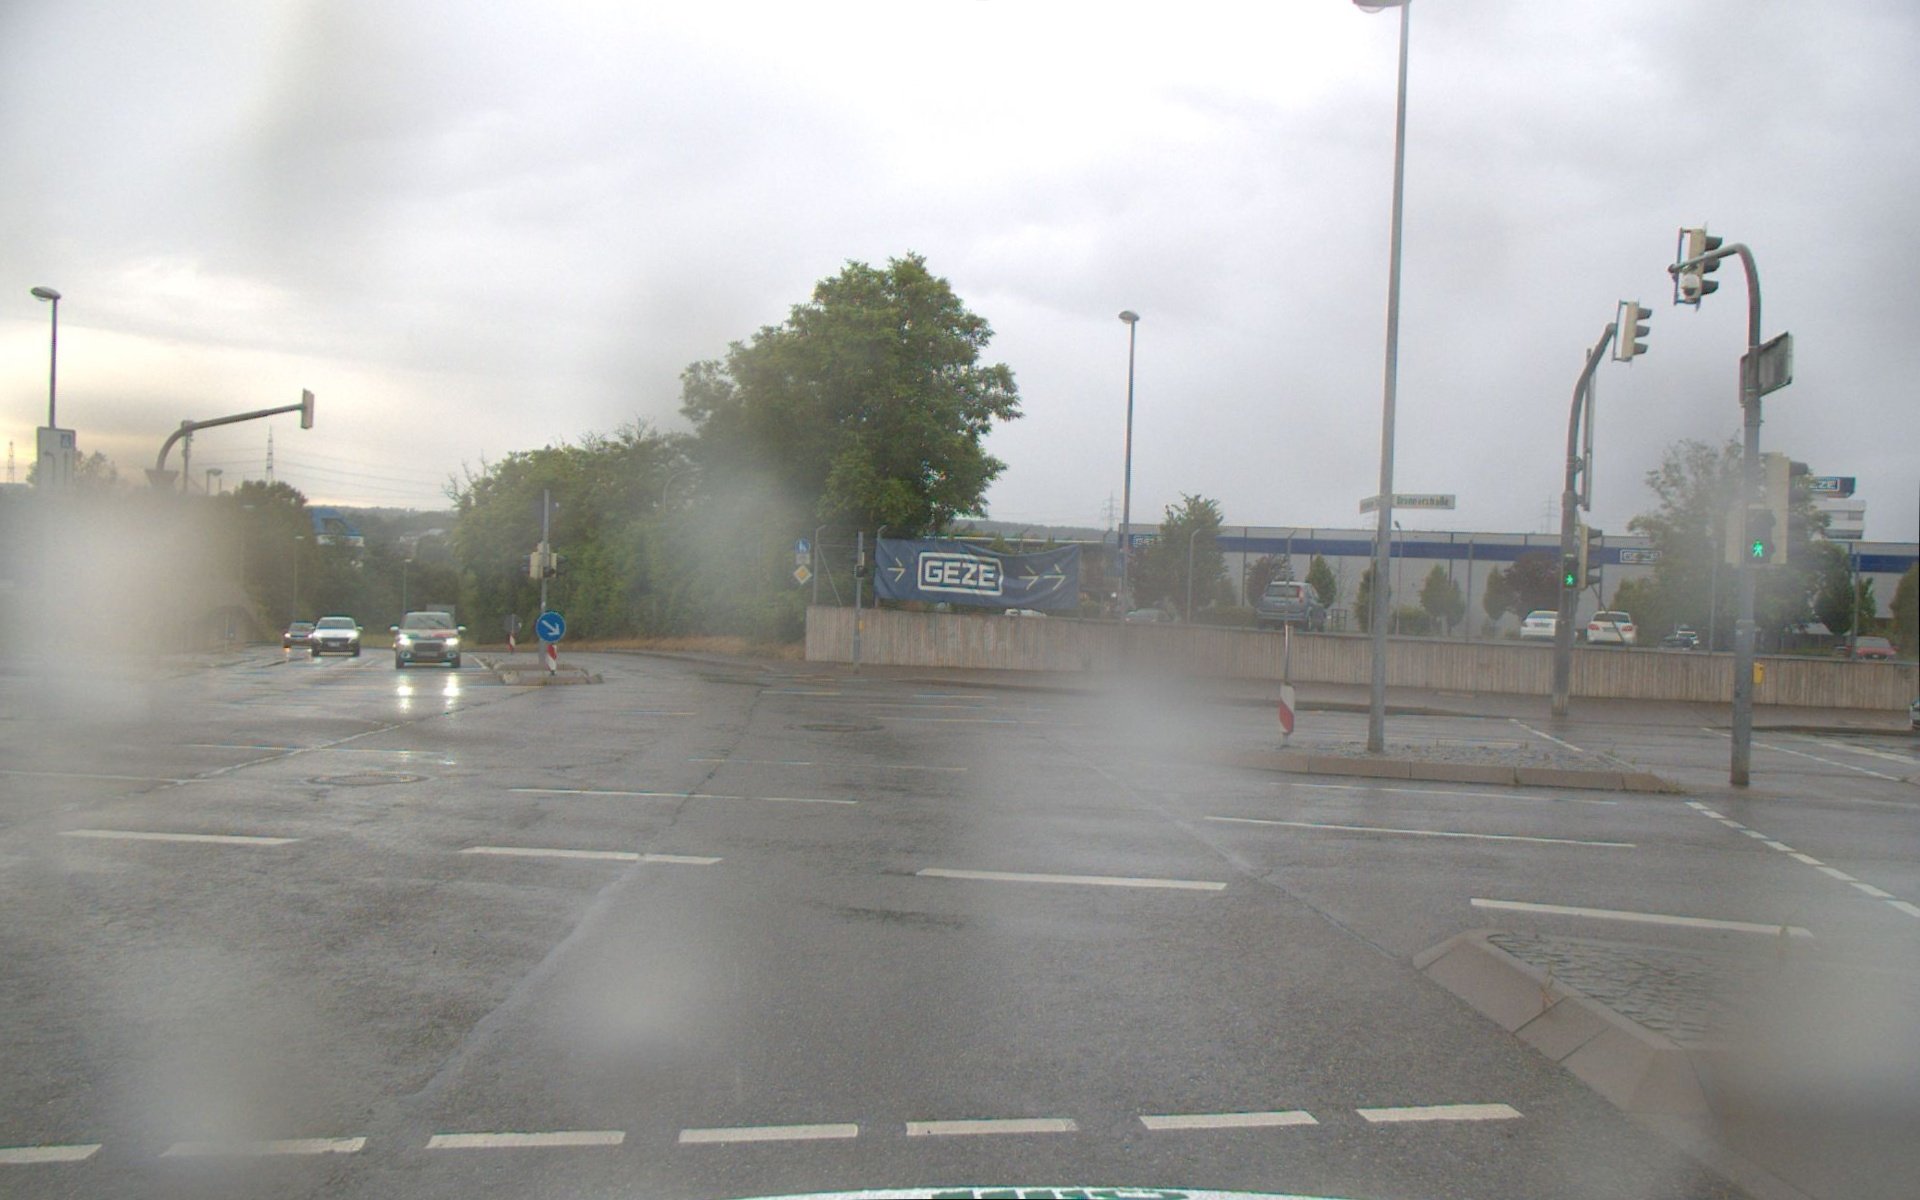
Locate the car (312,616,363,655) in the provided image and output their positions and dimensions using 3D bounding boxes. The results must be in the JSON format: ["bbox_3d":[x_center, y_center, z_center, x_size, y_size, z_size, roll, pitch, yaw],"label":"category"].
[{"bbox_3d":[-25.265,1.420,67.190,1.693,1.521,3.979,1,-1,-18],"label":"car"}]

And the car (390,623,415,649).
[{"bbox_3d":[-47.867,3.101,142.013,1.963,2.049,3.980,1,0,-18],"label":"car"}]

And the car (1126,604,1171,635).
[{"bbox_3d":[10.336,1.092,90.496,1.632,1.634,3.531,1,-1,21],"label":"car"}]

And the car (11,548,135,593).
[{"bbox_3d":[-35.335,-1.172,65.945,3.902,1.614,1.903,1,-3,8],"label":"car"}]

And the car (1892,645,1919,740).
[{"bbox_3d":[16.412,1.435,24.429,4.286,1.378,1.827,1,0,16],"label":"car"}]

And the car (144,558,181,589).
[{"bbox_3d":[-45.275,-1.489,93.867,1.805,1.467,3.965,3,-3,-27],"label":"car"}]

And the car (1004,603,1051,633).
[{"bbox_3d":[3.864,1.011,93.848,1.632,1.634,3.531,1,-1,21],"label":"car"}]

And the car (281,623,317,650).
[{"bbox_3d":[-39.654,2.164,99.166,1.873,1.481,3.970,2,0,-24],"label":"car"}]

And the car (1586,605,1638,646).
[{"bbox_3d":[25.958,1.034,65.778,1.820,1.553,4.102,1,-1,22],"label":"car"}]

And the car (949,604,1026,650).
[{"bbox_3d":[1.032,0.980,59.992,1.707,1.597,3.531,1,-1,21],"label":"car"}]

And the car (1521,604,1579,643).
[{"bbox_3d":[23.639,0.949,66.164,1.781,1.459,4.100,1,-1,26],"label":"car"}]

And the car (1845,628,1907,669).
[{"bbox_3d":[39.423,2.061,71.248,1.883,1.617,3.788,1,0,23],"label":"car"}]

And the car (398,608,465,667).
[{"bbox_3d":[-14.543,1.015,45.523,1.635,1.521,3.979,1,-1,-18],"label":"car"}]

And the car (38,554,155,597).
[{"bbox_3d":[-35.692,-0.999,68.413,3.902,1.614,1.903,1,-3,12],"label":"car"}]

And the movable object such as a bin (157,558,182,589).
[{"bbox_3d":[-40.325,-1.327,84.322,1.071,1.462,1.434,3,-3,-27],"label":"movable object such as a bin"}]

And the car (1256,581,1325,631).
[{"bbox_3d":[11.090,0.217,55.384,1.707,1.580,3.531,1,-1,21],"label":"car"}]
